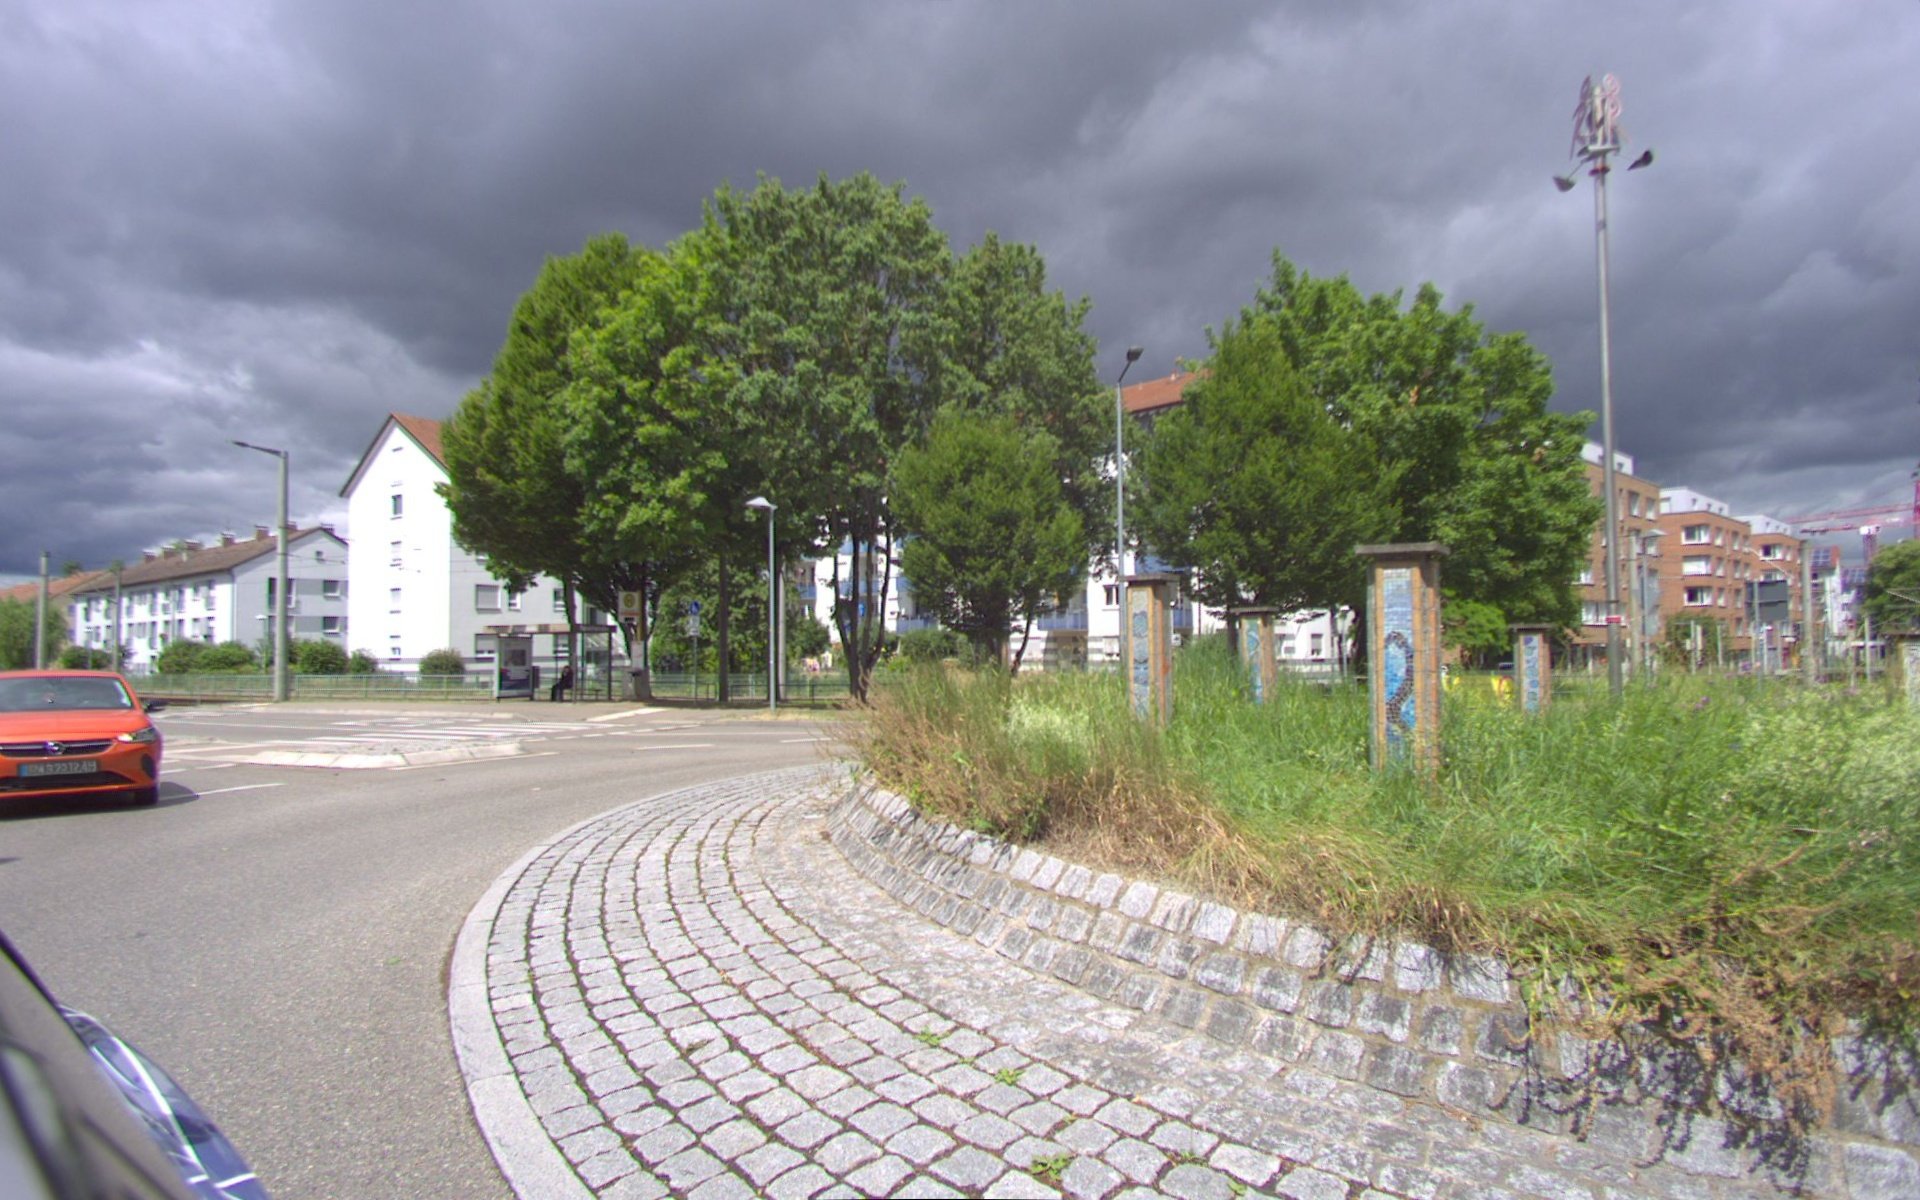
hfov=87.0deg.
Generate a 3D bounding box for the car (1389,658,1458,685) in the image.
[{"bbox_3d":[32.759,5.066,71.585,4.001,1.822,1.971,-4,-7,44],"label":"car"}]

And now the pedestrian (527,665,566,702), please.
[{"bbox_3d":[-13.180,2.658,32.272,0.908,1.144,0.792,-3,-3,32],"label":"pedestrian"}]

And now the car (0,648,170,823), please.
[{"bbox_3d":[-9.757,1.329,10.820,1.740,1.570,4.005,3,-5,-42],"label":"car"}]

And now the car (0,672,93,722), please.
[{"bbox_3d":[-30.295,3.142,33.255,4.380,1.466,1.836,-3,-2,37],"label":"car"}]
